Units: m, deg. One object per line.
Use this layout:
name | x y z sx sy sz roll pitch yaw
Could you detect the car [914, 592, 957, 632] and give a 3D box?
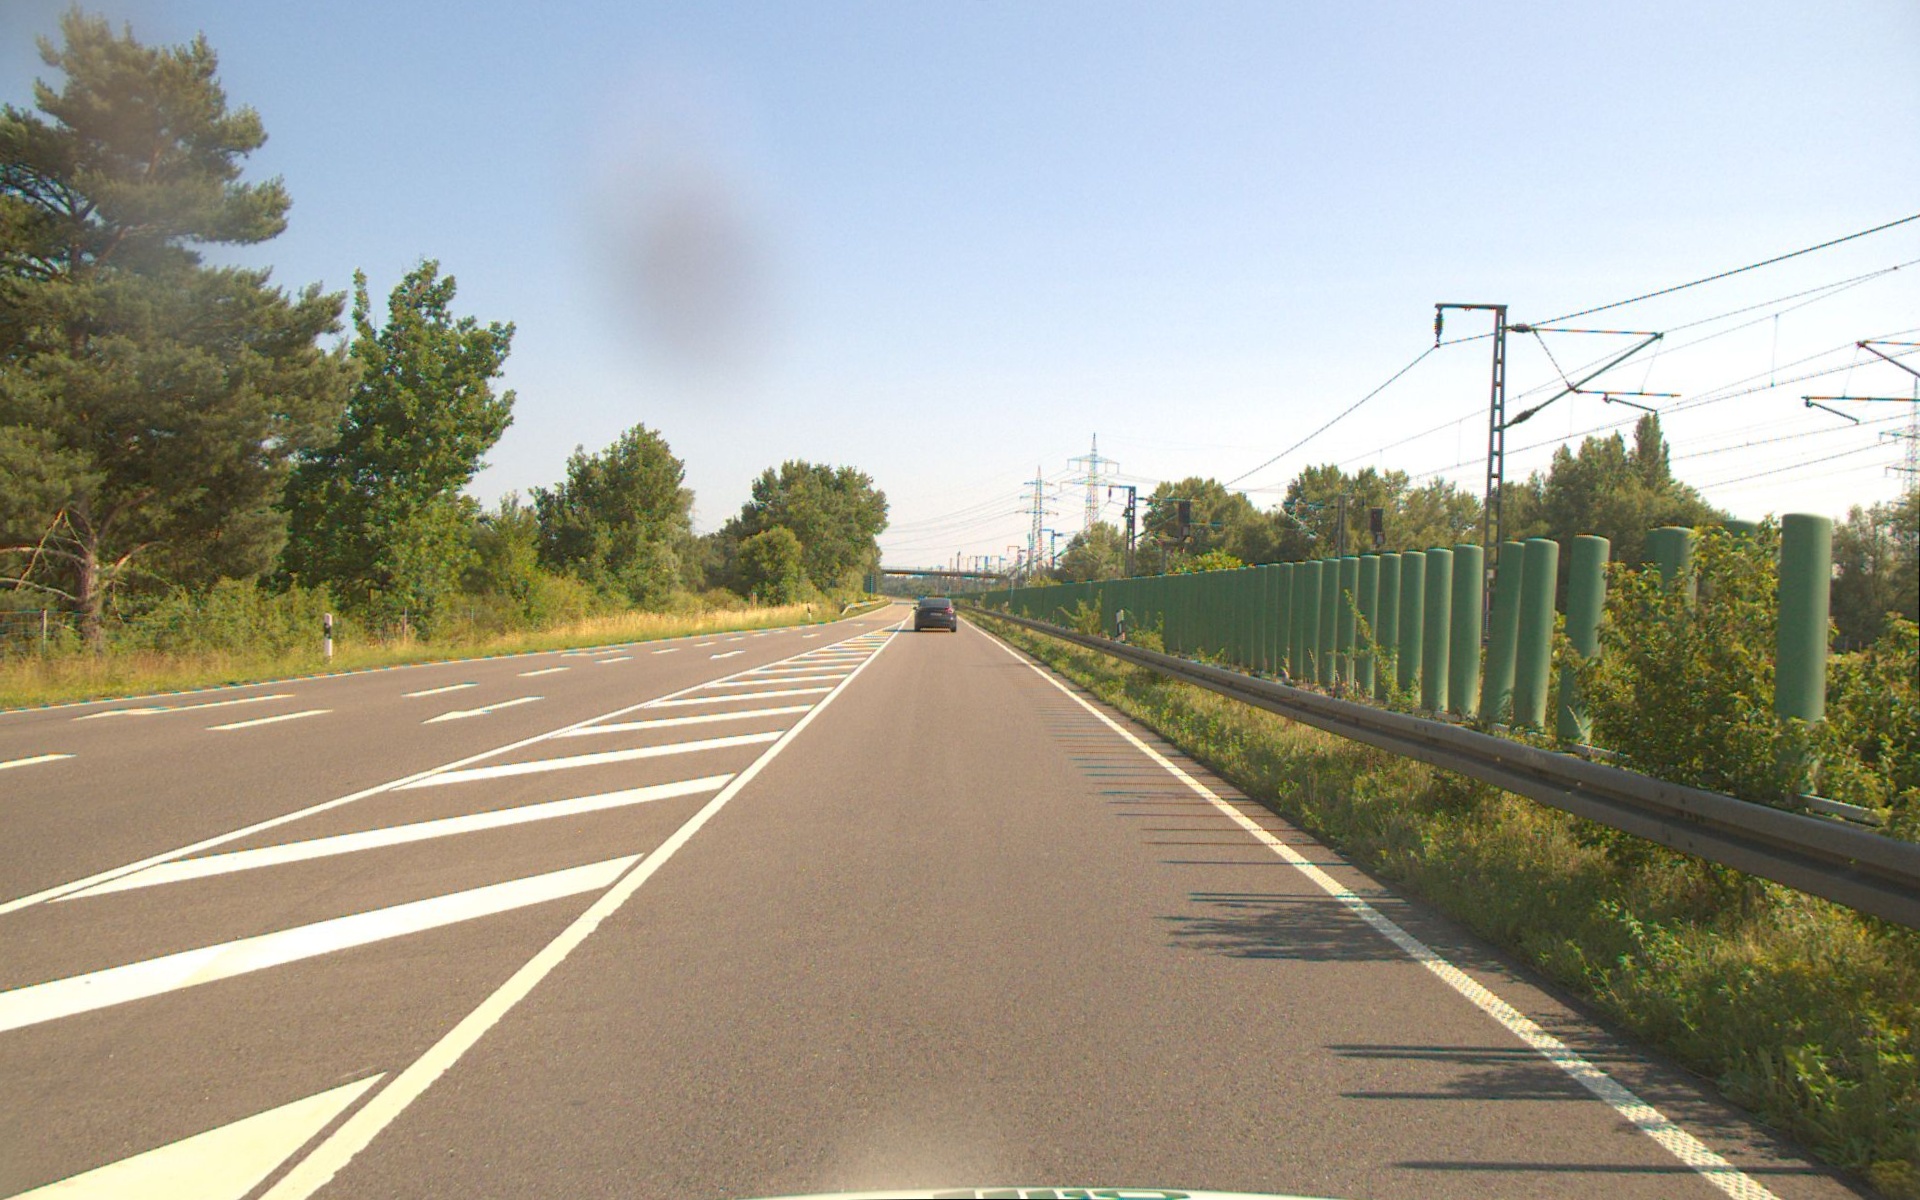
car | -1.041 0.499 71.834 1.821 1.670 4.000 0 0 0
